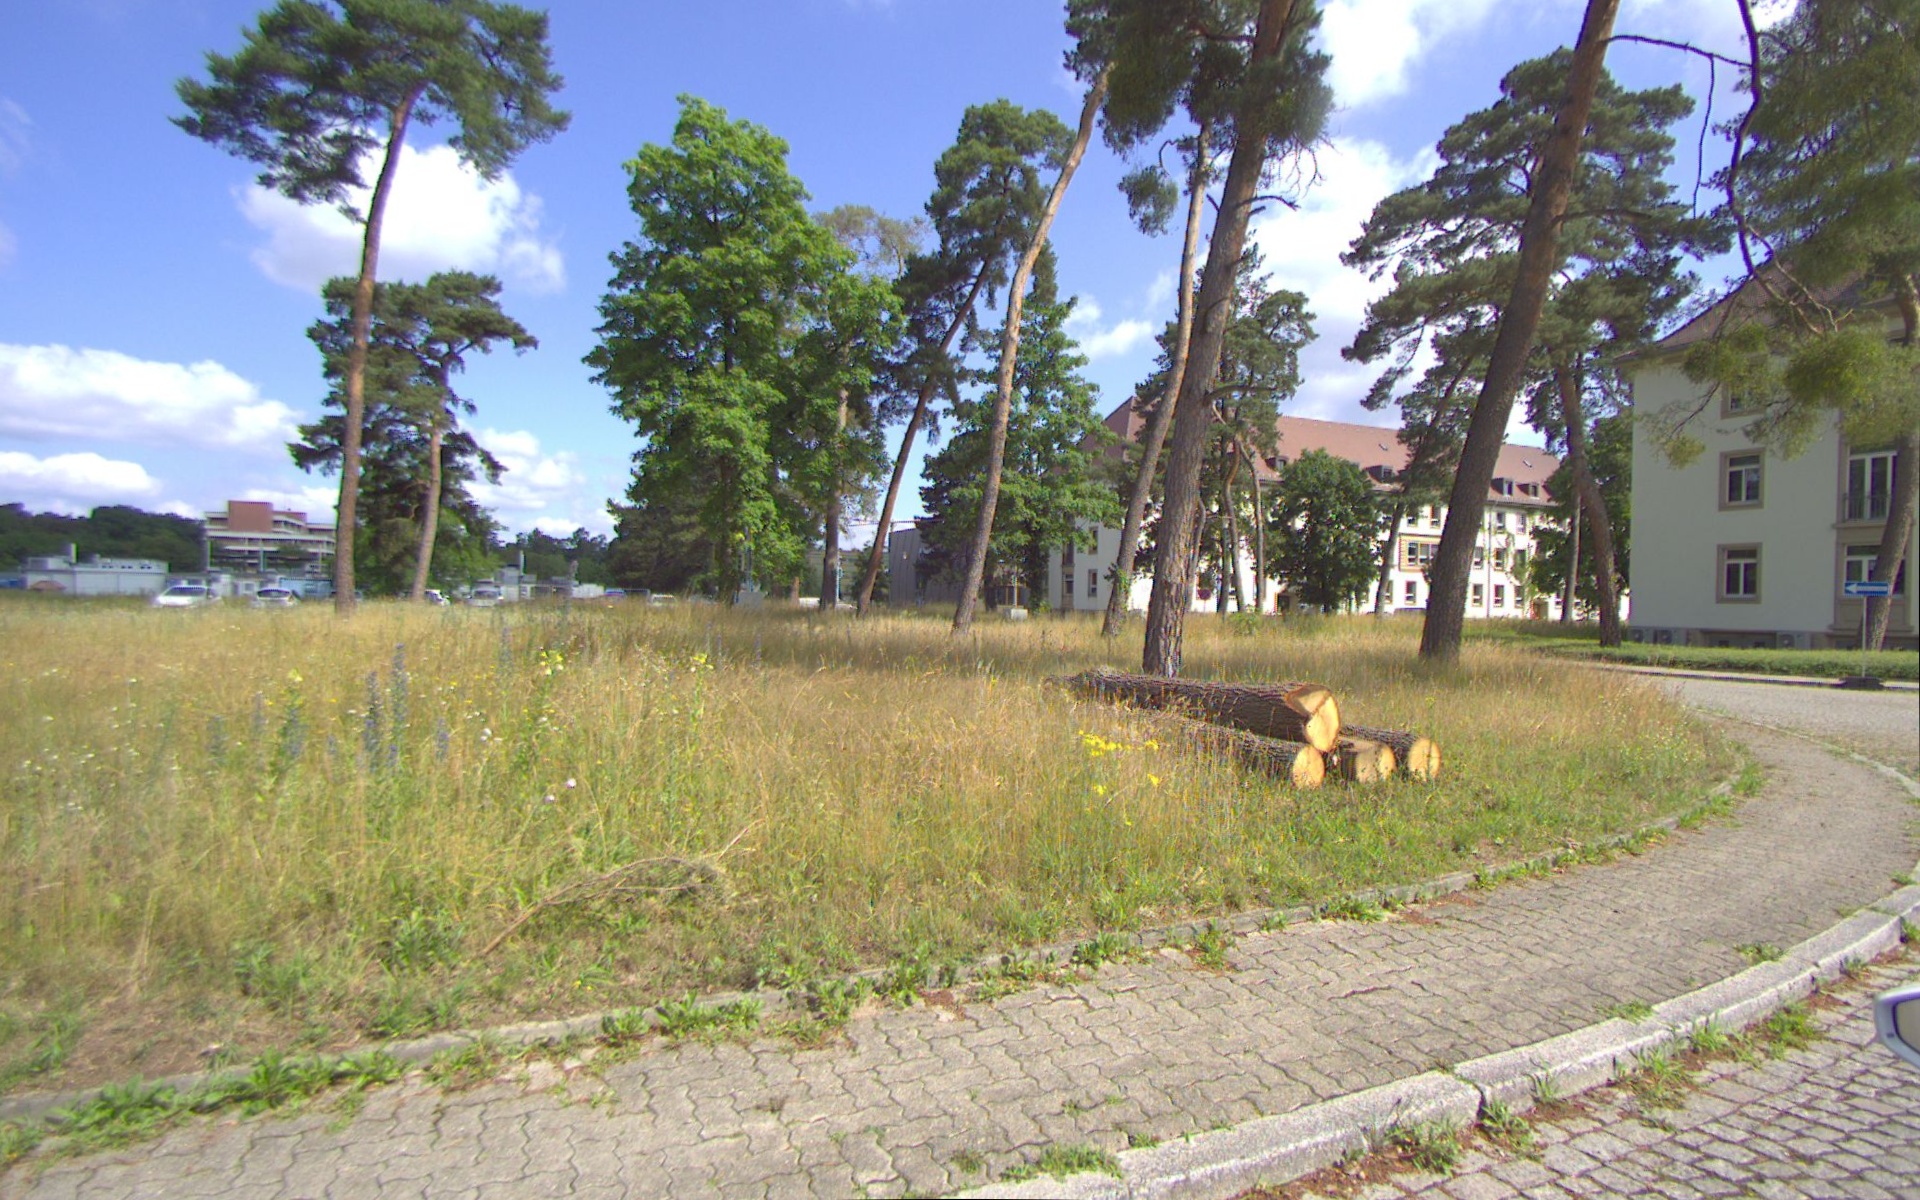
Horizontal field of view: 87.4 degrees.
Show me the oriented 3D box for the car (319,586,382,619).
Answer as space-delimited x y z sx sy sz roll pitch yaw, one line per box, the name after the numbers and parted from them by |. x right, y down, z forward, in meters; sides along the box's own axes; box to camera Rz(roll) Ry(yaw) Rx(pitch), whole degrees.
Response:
-26.612 0.110 43.979 1.875 1.337 4.054 1 -1 -25 | car

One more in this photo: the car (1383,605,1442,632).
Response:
34.925 1.438 77.606 1.688 2.018 4.050 1 -1 -23 | car

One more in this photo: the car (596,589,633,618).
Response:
-22.742 0.252 66.023 1.875 1.804 4.054 1 -1 -25 | car

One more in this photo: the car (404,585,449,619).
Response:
-29.022 0.102 54.700 1.875 1.725 4.054 1 -1 -25 | car

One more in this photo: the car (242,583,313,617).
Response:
-29.367 0.005 43.343 1.875 1.356 4.054 1 -1 -25 | car

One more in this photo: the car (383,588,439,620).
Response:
-24.397 0.177 44.769 1.875 1.327 4.054 1 -1 -25 | car

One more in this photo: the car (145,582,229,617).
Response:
-32.017 -0.012 41.709 1.875 1.367 4.046 1 -1 -25 | car

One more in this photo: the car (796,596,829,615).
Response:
-17.067 0.591 116.170 3.630 2.116 1.725 1 0 -15 | car

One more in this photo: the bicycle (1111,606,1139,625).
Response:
9.557 0.895 58.185 1.559 1.115 0.490 1 0 -13 | bicycle
